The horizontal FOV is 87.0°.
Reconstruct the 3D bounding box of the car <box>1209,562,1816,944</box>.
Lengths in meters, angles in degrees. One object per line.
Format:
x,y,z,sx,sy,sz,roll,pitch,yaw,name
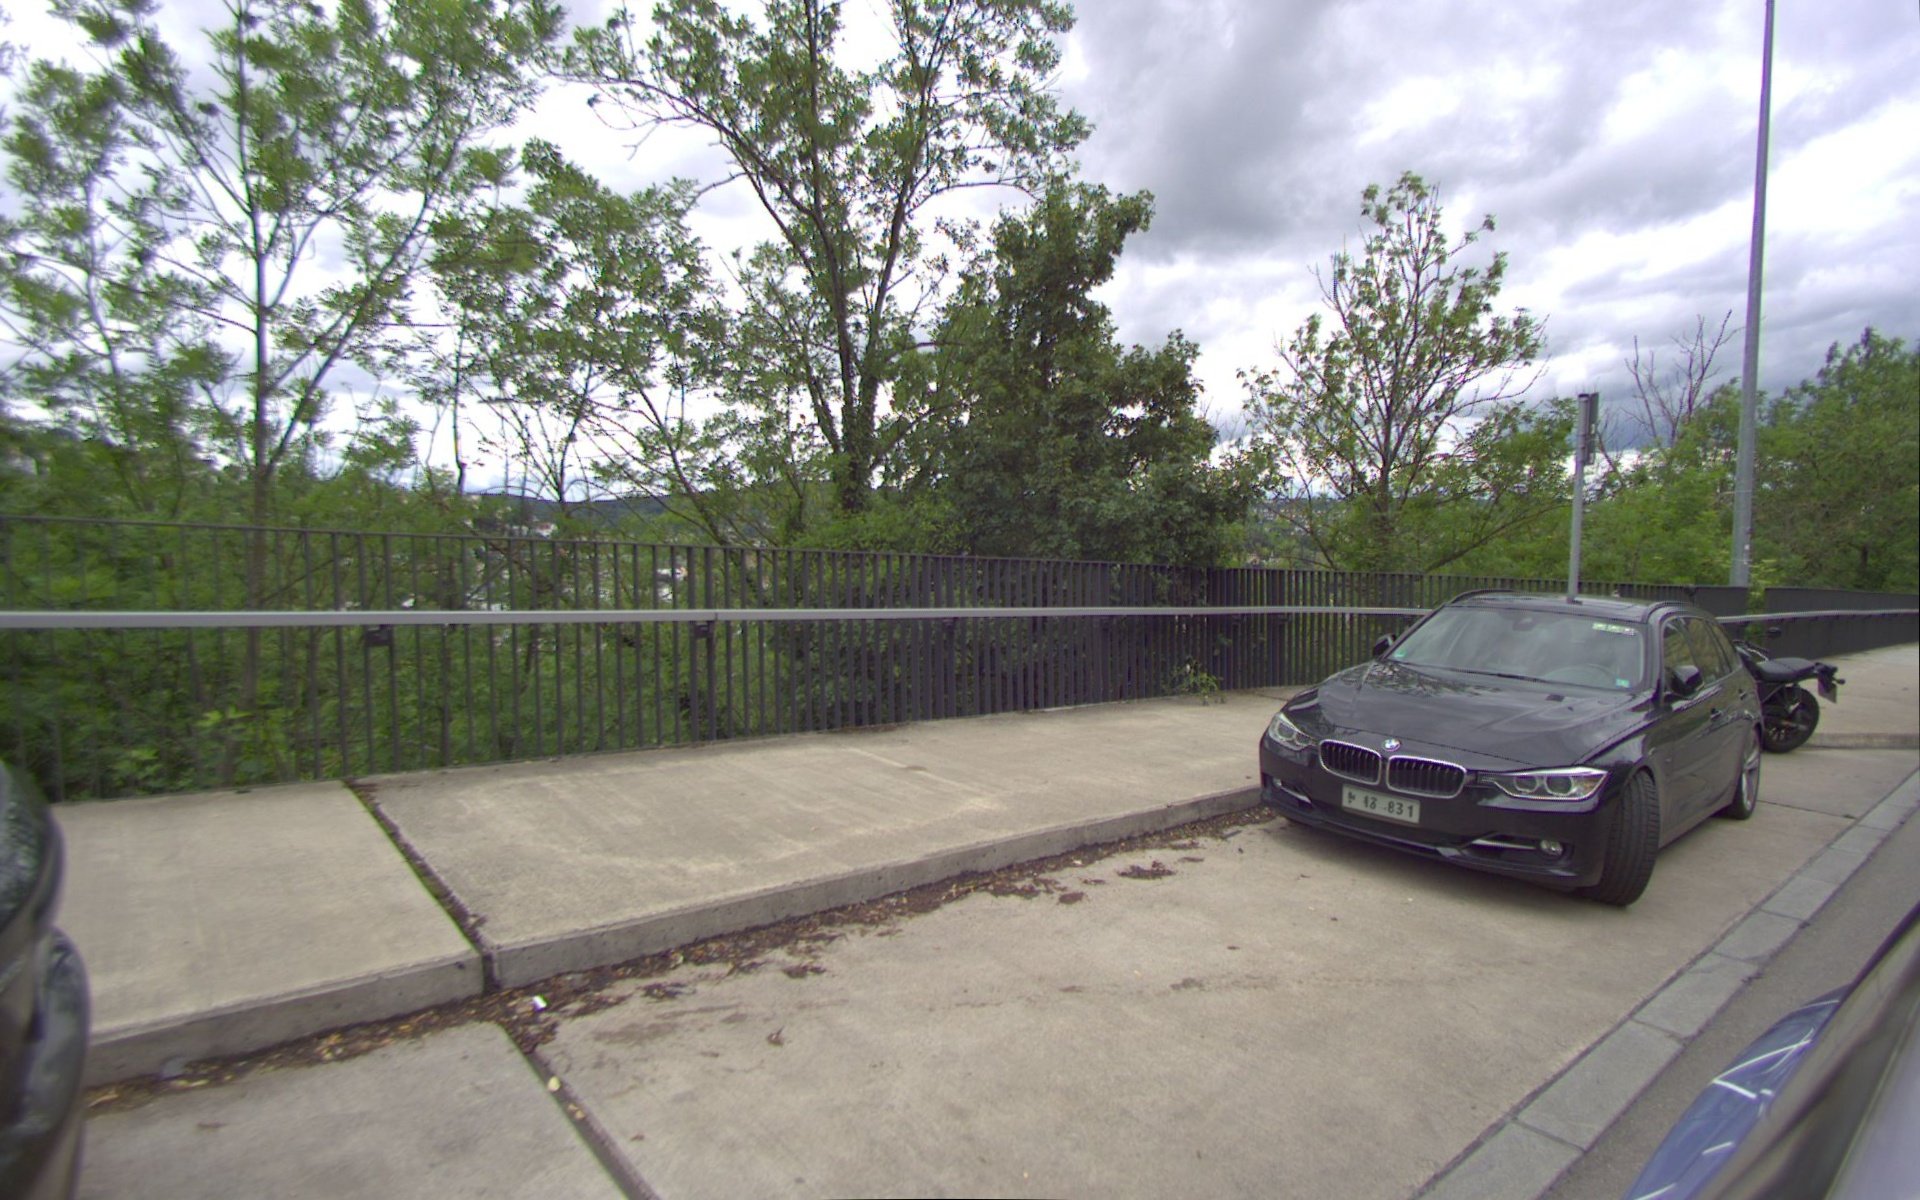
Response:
3.540,0.572,6.102,4.245,1.417,1.827,0,5,-42,car

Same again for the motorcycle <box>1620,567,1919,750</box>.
7.139,0.480,8.816,2.453,1.486,0.773,1,1,-11,motorcycle

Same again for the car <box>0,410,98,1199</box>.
-3.106,0.523,0.409,4.181,1.590,1.664,0,5,-41,car
